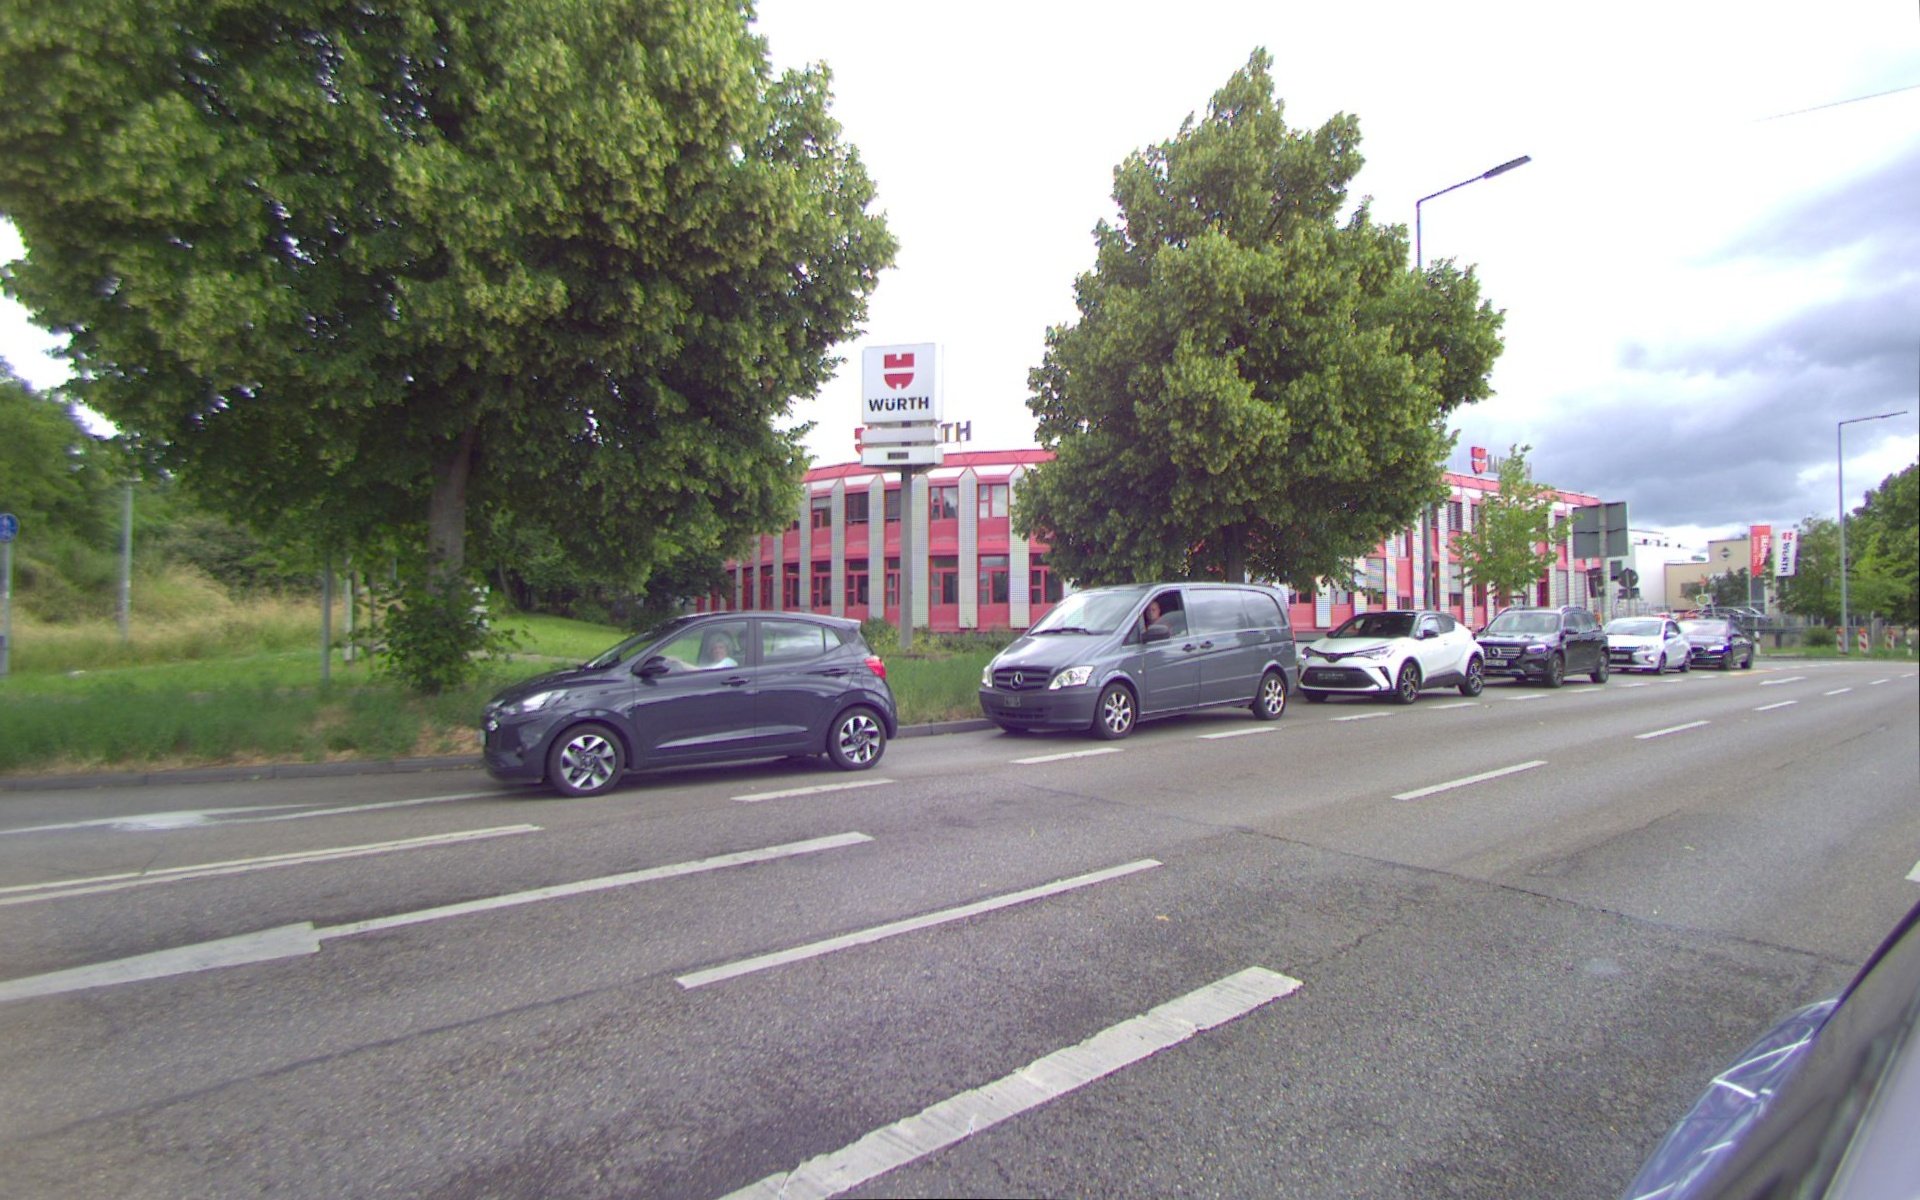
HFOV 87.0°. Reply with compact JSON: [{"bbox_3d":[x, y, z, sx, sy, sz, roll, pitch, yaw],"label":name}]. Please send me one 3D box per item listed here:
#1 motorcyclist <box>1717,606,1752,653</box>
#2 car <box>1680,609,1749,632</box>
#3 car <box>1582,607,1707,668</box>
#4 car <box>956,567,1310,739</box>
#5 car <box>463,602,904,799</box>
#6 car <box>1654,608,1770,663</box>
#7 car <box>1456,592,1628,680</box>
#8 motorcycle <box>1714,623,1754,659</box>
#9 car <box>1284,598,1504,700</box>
[{"bbox_3d":[25.209,0.958,32.946,0.918,1.510,0.748,2,-3,-44],"label":"motorcyclist"},{"bbox_3d":[61.793,1.686,82.964,1.752,1.776,4.247,0,0,-39],"label":"car"},{"bbox_3d":[18.175,0.993,26.818,3.766,1.461,1.784,3,-1,-40],"label":"car"},{"bbox_3d":[2.369,0.617,13.155,4.636,1.858,1.919,0,-3,-39],"label":"car"},{"bbox_3d":[-2.458,0.784,9.190,3.544,1.449,1.625,0,-3,-33],"label":"car"},{"bbox_3d":[22.203,1.056,29.817,4.446,1.464,1.784,3,-1,-40],"label":"car"},{"bbox_3d":[12.467,0.756,21.569,4.346,1.671,1.784,3,-1,-40],"label":"car"},{"bbox_3d":[25.151,1.324,32.871,1.911,1.162,0.748,2,-3,-45],"label":"motorcycle"},{"bbox_3d":[7.549,0.794,17.422,4.230,1.555,1.783,0,-3,-41],"label":"car"}]
